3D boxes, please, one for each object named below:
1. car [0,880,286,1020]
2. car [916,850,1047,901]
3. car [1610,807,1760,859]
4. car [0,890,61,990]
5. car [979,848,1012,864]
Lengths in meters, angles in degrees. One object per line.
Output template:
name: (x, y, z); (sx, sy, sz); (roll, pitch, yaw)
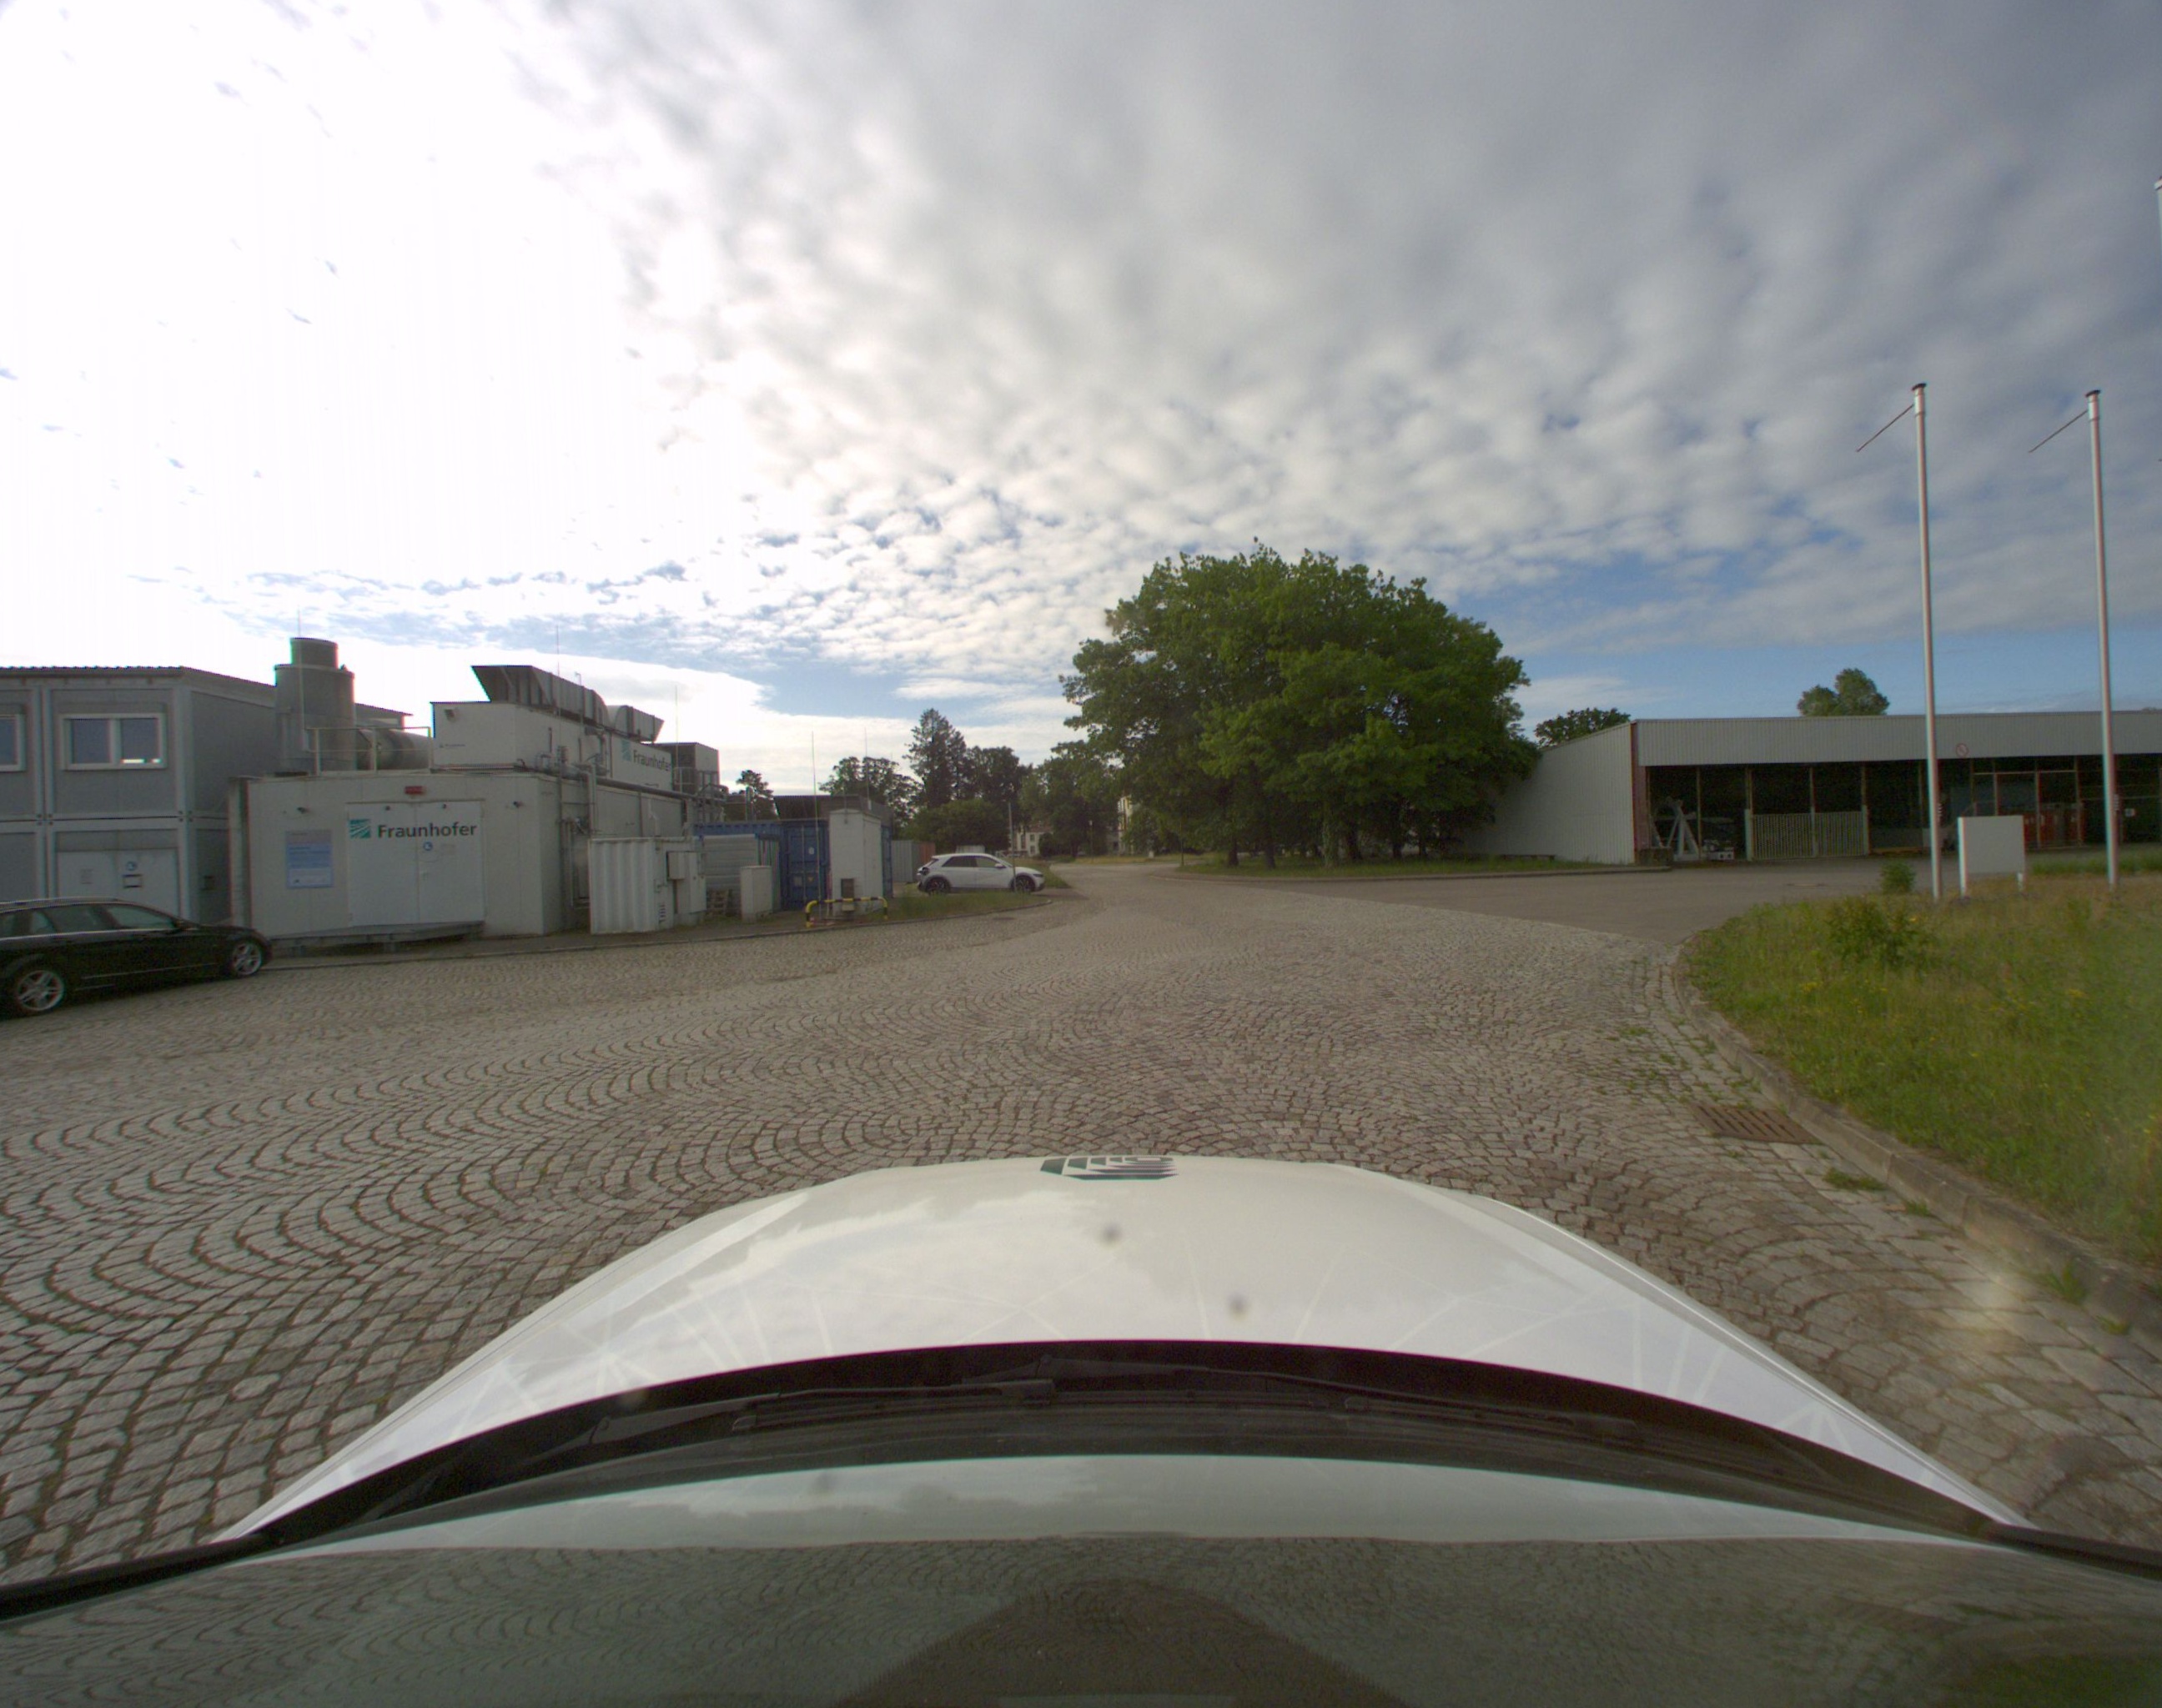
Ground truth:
car: (-14.132, 1.259, 11.269); (2.034, 1.453, 4.521); (-2, 2, -6)
car: (-3.550, 0.755, 29.615); (4.525, 1.599, 1.997); (-2, 0, -4)
car: (26.367, -0.848, 35.870); (2.239, 2.013, 5.323); (-2, 0, -7)
car: (-17.285, 1.389, 11.084); (1.905, 1.475, 4.036); (-2, 1, -8)
car: (-13.692, 0.250, 130.494); (5.165, 2.337, 1.995); (-2, 0, -7)
